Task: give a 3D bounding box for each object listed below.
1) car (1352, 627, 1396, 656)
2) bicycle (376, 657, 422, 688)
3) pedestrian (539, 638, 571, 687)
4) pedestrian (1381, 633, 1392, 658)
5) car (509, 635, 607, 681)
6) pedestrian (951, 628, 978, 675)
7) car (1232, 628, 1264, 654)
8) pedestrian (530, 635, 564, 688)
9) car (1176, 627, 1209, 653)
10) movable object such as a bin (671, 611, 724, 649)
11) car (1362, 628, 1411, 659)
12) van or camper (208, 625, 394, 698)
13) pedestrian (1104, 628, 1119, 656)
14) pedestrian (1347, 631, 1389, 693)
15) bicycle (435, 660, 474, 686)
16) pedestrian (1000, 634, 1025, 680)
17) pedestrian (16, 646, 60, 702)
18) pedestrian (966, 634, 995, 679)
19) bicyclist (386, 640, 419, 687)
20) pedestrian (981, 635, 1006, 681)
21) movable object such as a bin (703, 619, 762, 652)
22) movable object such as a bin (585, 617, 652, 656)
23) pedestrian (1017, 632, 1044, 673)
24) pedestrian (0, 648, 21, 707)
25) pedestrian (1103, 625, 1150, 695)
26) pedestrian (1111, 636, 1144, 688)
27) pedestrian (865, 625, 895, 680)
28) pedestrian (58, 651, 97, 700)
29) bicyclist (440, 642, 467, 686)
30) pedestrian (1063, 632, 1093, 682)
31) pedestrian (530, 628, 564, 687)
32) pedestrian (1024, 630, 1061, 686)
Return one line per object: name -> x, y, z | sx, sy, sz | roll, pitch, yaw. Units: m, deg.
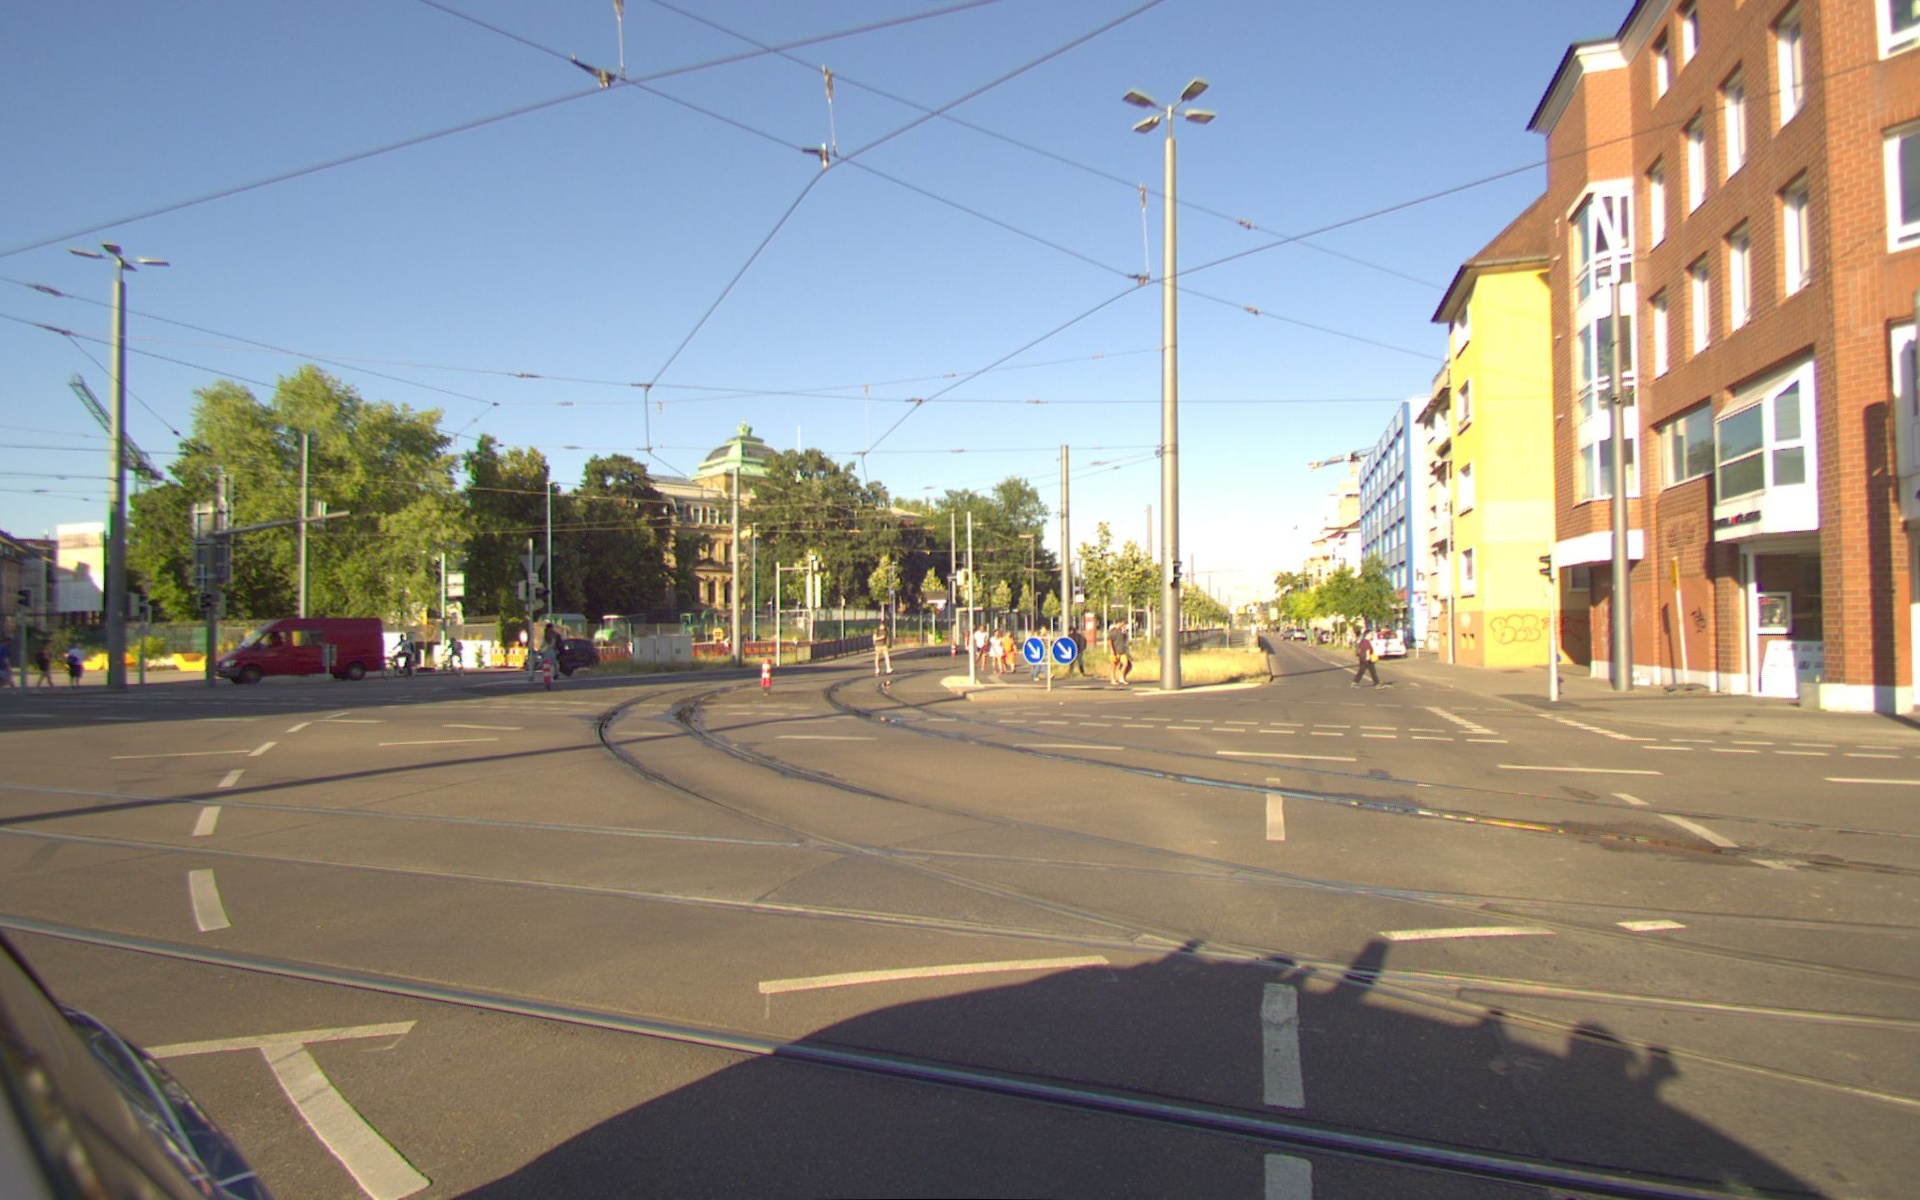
car -> 24.007, 2.401, 58.759 | 1.870, 1.519, 3.655 | -3, -2, 16
bicycle -> -21.786, 2.801, 39.324 | 0.537, 1.109, 1.802 | -3, -2, 11
pedestrian -> -14.080, 2.172, 35.171 | 0.780, 1.653, 0.617 | -3, -2, 14
pedestrian -> 30.705, 3.287, 72.836 | 0.642, 1.759, 0.594 | -3, -2, 23
car -> -19.473, 2.796, 49.142 | 1.998, 2.029, 3.948 | -4, -3, 39
pedestrian -> 0.177, 1.932, 38.150 | 0.782, 1.712, 0.615 | -3, -2, 19
car -> 18.346, 2.568, 64.513 | 1.870, 1.519, 3.922 | -3, -2, 16
pedestrian -> -13.326, 1.979, 32.659 | 0.885, 1.653, 0.790 | -2, -2, -16
car -> 15.041, 2.555, 65.309 | 1.870, 1.519, 3.922 | -3, -2, 16
movable object such as a bin -> -24.077, 2.731, 92.967 | 1.985, 3.355, 5.338 | -3, -2, 20
car -> 22.752, 2.292, 54.085 | 1.870, 1.519, 3.655 | -3, -2, 16
van or camper -> -25.868, 2.378, 39.935 | 1.998, 2.548, 5.835 | -4, -3, 40
pedestrian -> 9.424, 2.619, 62.893 | 0.782, 1.685, 0.615 | -3, -2, 19
pedestrian -> 10.944, 1.651, 27.187 | 0.598, 1.600, 0.791 | -2, -2, -15
bicycle -> -20.814, 2.997, 41.700 | 0.537, 1.009, 1.687 | -3, -2, 11
pedestrian -> 1.733, 1.871, 33.295 | 0.627, 1.443, 0.526 | -2, -2, -14
pedestrian -> -28.857, 2.306, 31.694 | 0.685, 1.695, 1.045 | -2, -2, -21
pedestrian -> 0.709, 2.009, 35.808 | 0.774, 1.561, 0.621 | 0, -5, -29
bicyclist -> -21.775, 2.468, 39.538 | 0.537, 1.781, 1.056 | -3, -2, 11
pedestrian -> 1.097, 1.884, 33.157 | 0.627, 1.467, 0.526 | -2, -2, -15
movable object such as a bin -> -20.529, 3.185, 91.677 | 1.989, 2.838, 5.815 | -3, -2, 26
movable object such as a bin -> -25.304, 2.657, 75.084 | 1.985, 2.704, 4.979 | -3, -2, 20
pedestrian -> 2.838, 2.117, 40.765 | 0.684, 1.596, 0.830 | -4, -3, 43
pedestrian -> -29.716, 2.396, 31.262 | 0.685, 1.807, 1.045 | -2, -2, -21
pedestrian -> 4.369, 1.565, 26.550 | 0.898, 1.771, 0.767 | -4, -3, 34
pedestrian -> 4.510, 1.664, 27.221 | 0.606, 1.370, 0.590 | -4, -2, 33
pedestrian -> -2.789, 1.825, 35.175 | 0.782, 1.878, 0.615 | -3, -2, 19
pedestrian -> -33.147, 2.834, 38.006 | 1.001, 1.776, 0.755 | -3, -2, 23
bicyclist -> -20.815, 2.608, 41.615 | 0.609, 1.759, 0.789 | -3, -2, 11
pedestrian -> 3.893, 1.881, 33.413 | 0.829, 1.596, 0.684 | -2, -2, -2
pedestrian -> -13.486, 1.859, 33.061 | 0.885, 1.814, 0.790 | -4, 2, -26
pedestrian -> 2.356, 1.665, 28.976 | 0.776, 1.547, 0.620 | 0, -3, -44
